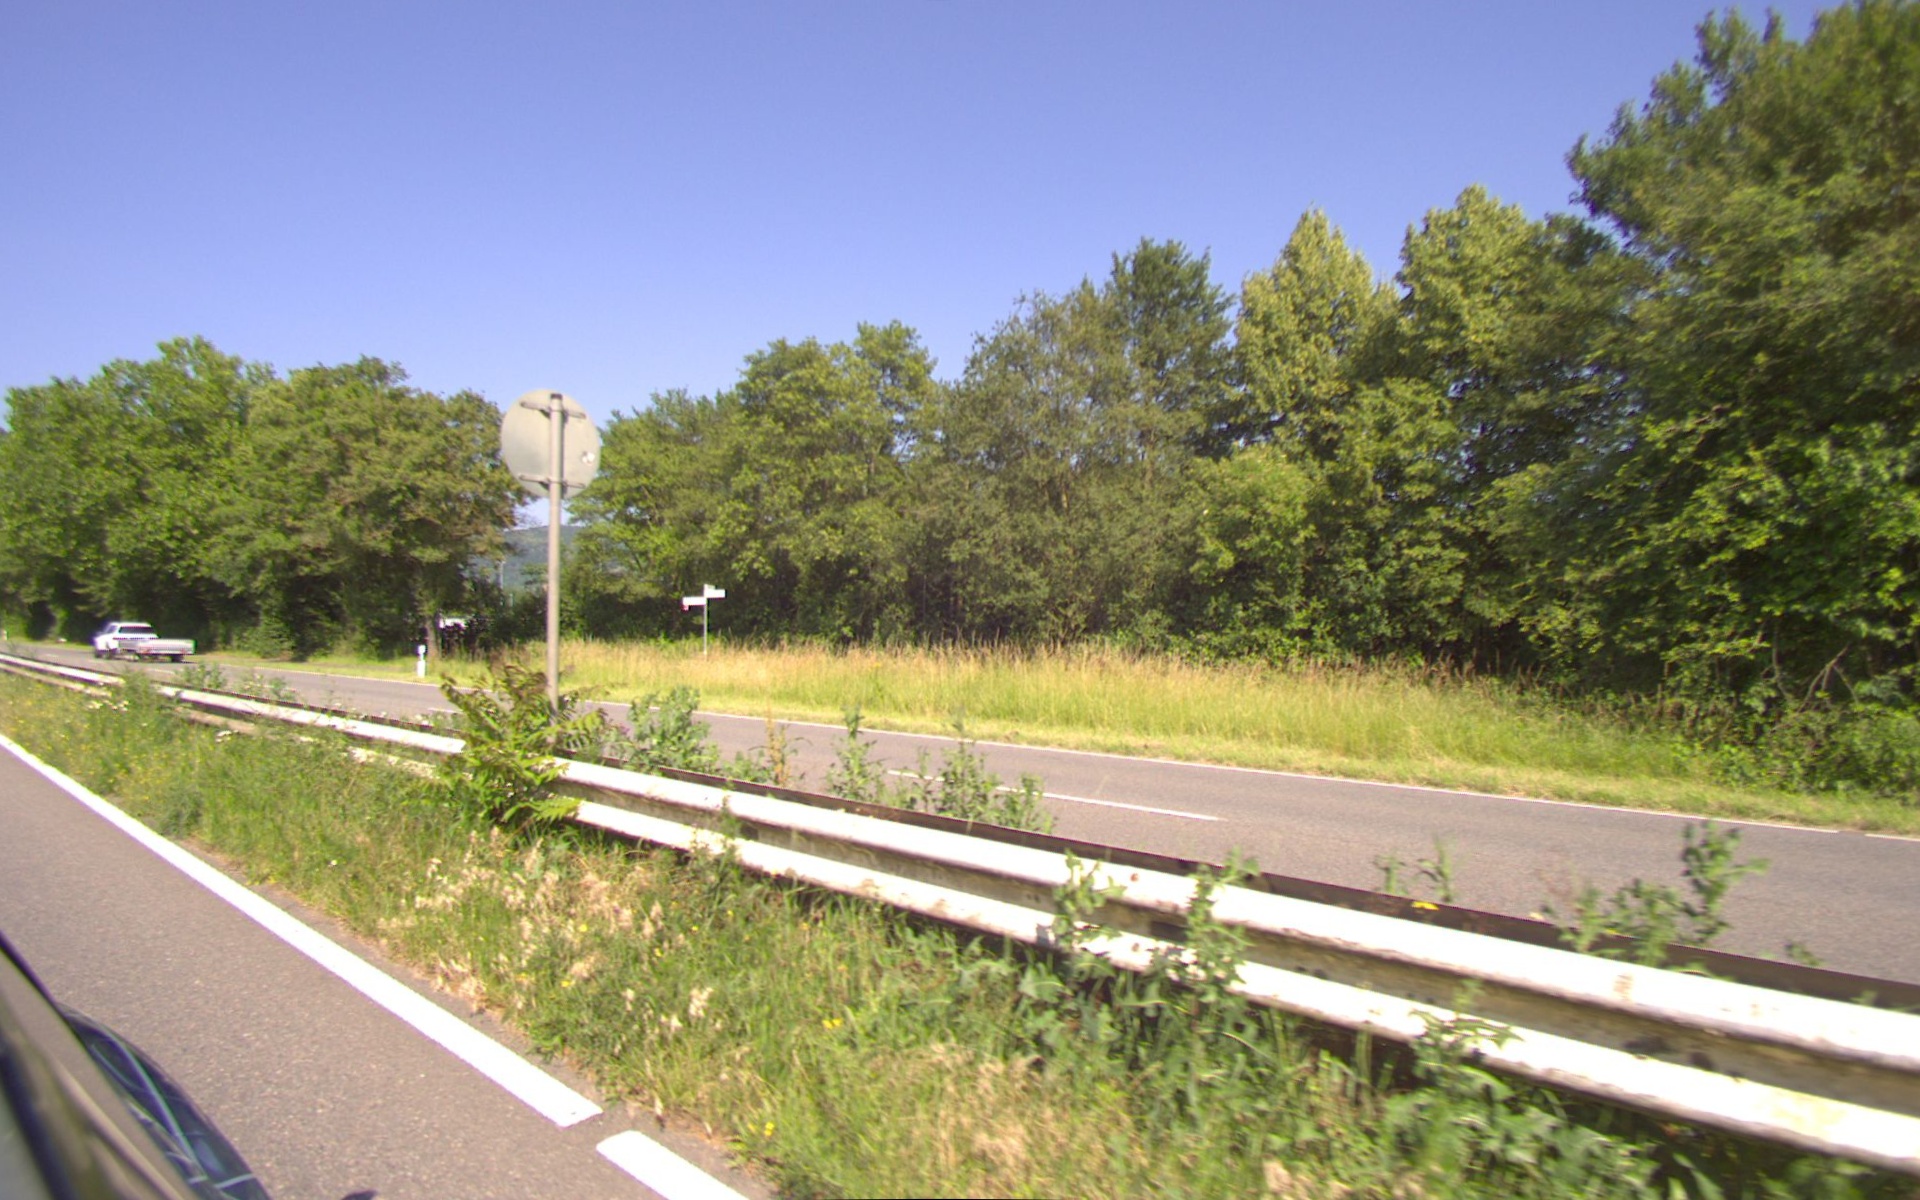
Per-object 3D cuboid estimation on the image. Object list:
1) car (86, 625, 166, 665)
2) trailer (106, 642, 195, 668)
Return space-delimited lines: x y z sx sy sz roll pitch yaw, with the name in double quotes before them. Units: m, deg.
"car" -37.748 2.011 45.756 4.811 1.713 1.972 -1 -4 41
"trailer" -33.860 2.277 42.282 5.595 0.968 1.943 -2 -3 41
